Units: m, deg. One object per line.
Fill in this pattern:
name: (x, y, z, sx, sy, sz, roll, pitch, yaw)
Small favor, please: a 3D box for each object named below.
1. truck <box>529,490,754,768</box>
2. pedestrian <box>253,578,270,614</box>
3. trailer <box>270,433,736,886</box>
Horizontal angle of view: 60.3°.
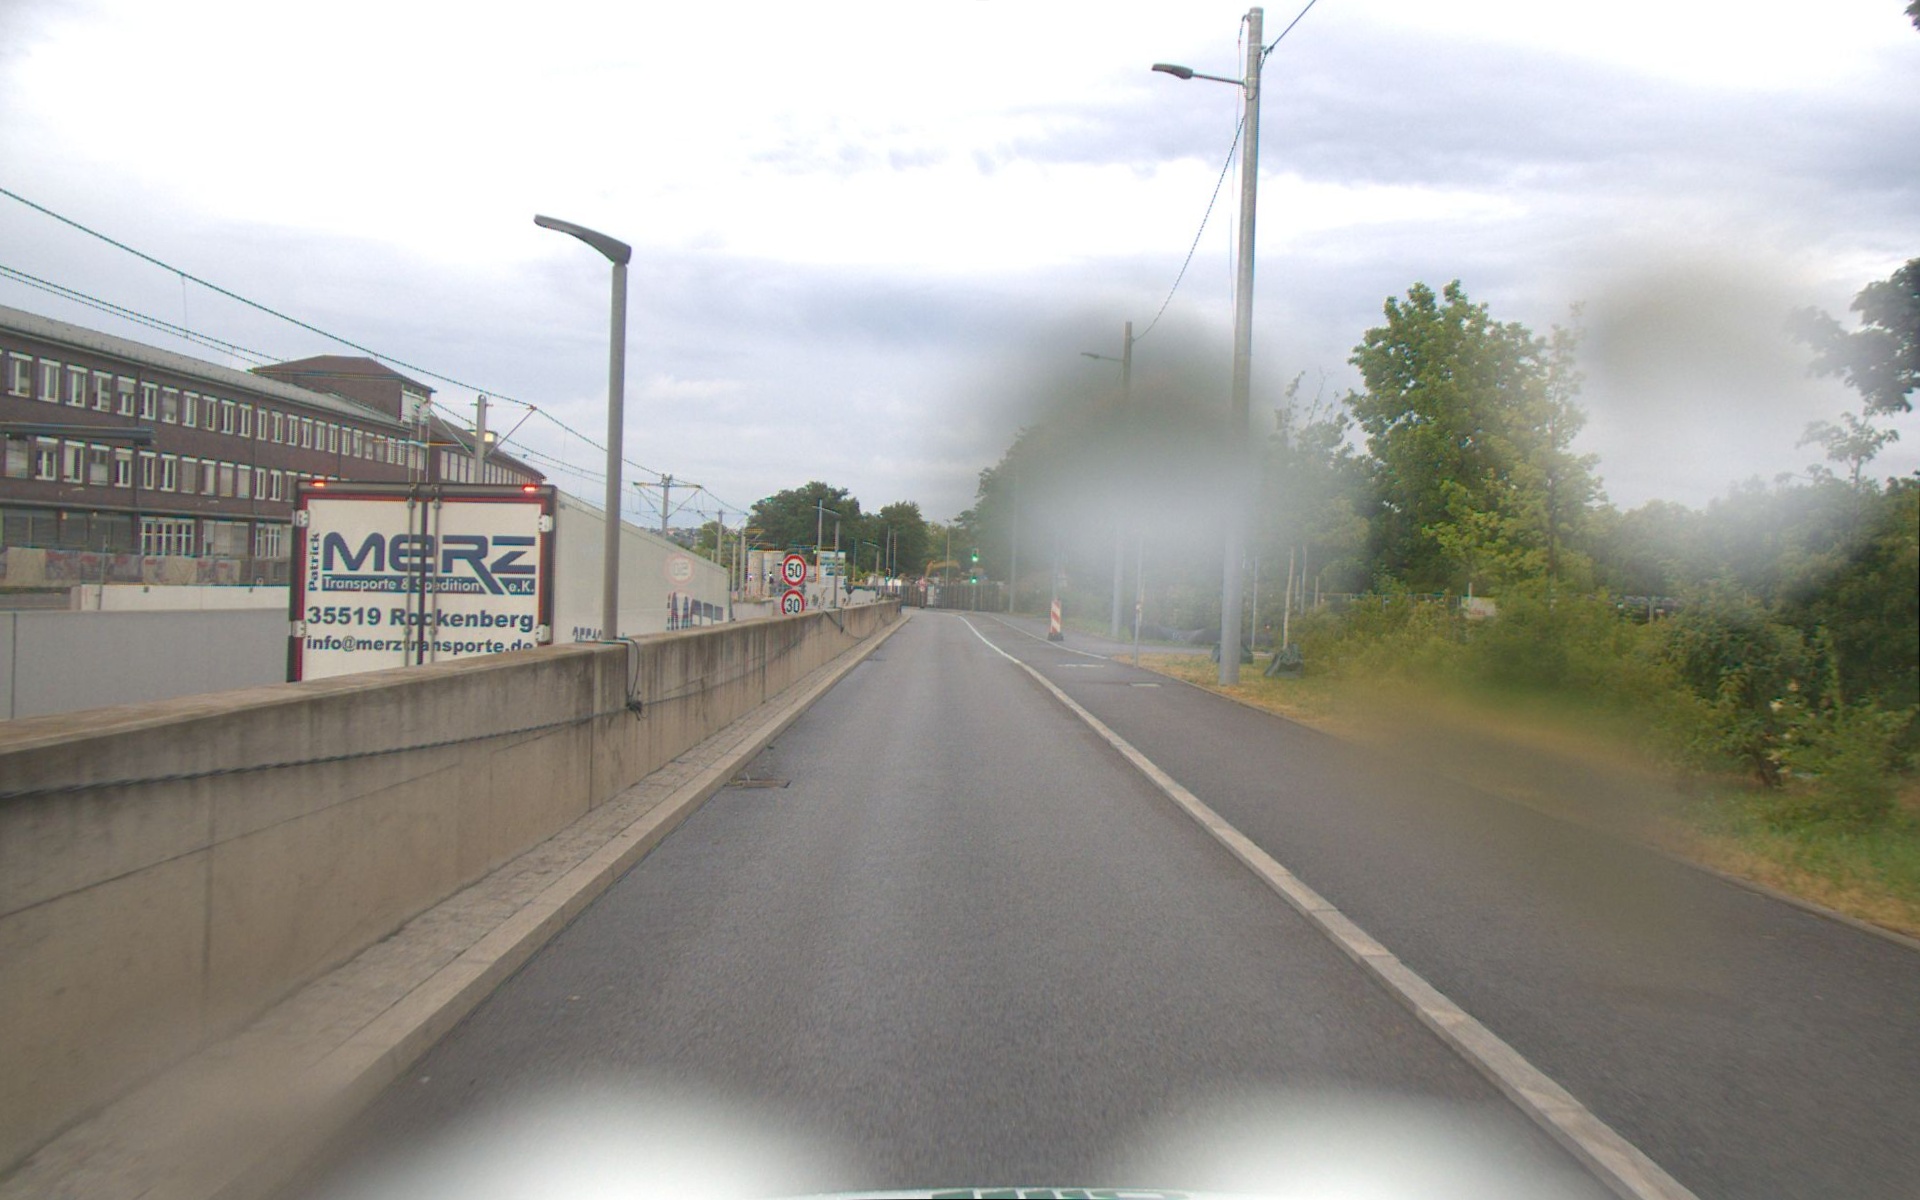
truck: (-5.329, 0.433, 28.792, 2.700, 4.278, 6.306, 0, 0, 0)
pedestrian: (-40.137, -0.227, 95.064, 0.657, 2.049, 0.652, 1, -1, -3)
trailer: (-5.268, 0.534, 22.449, 2.706, 4.327, 13.182, 0, 0, 0)
